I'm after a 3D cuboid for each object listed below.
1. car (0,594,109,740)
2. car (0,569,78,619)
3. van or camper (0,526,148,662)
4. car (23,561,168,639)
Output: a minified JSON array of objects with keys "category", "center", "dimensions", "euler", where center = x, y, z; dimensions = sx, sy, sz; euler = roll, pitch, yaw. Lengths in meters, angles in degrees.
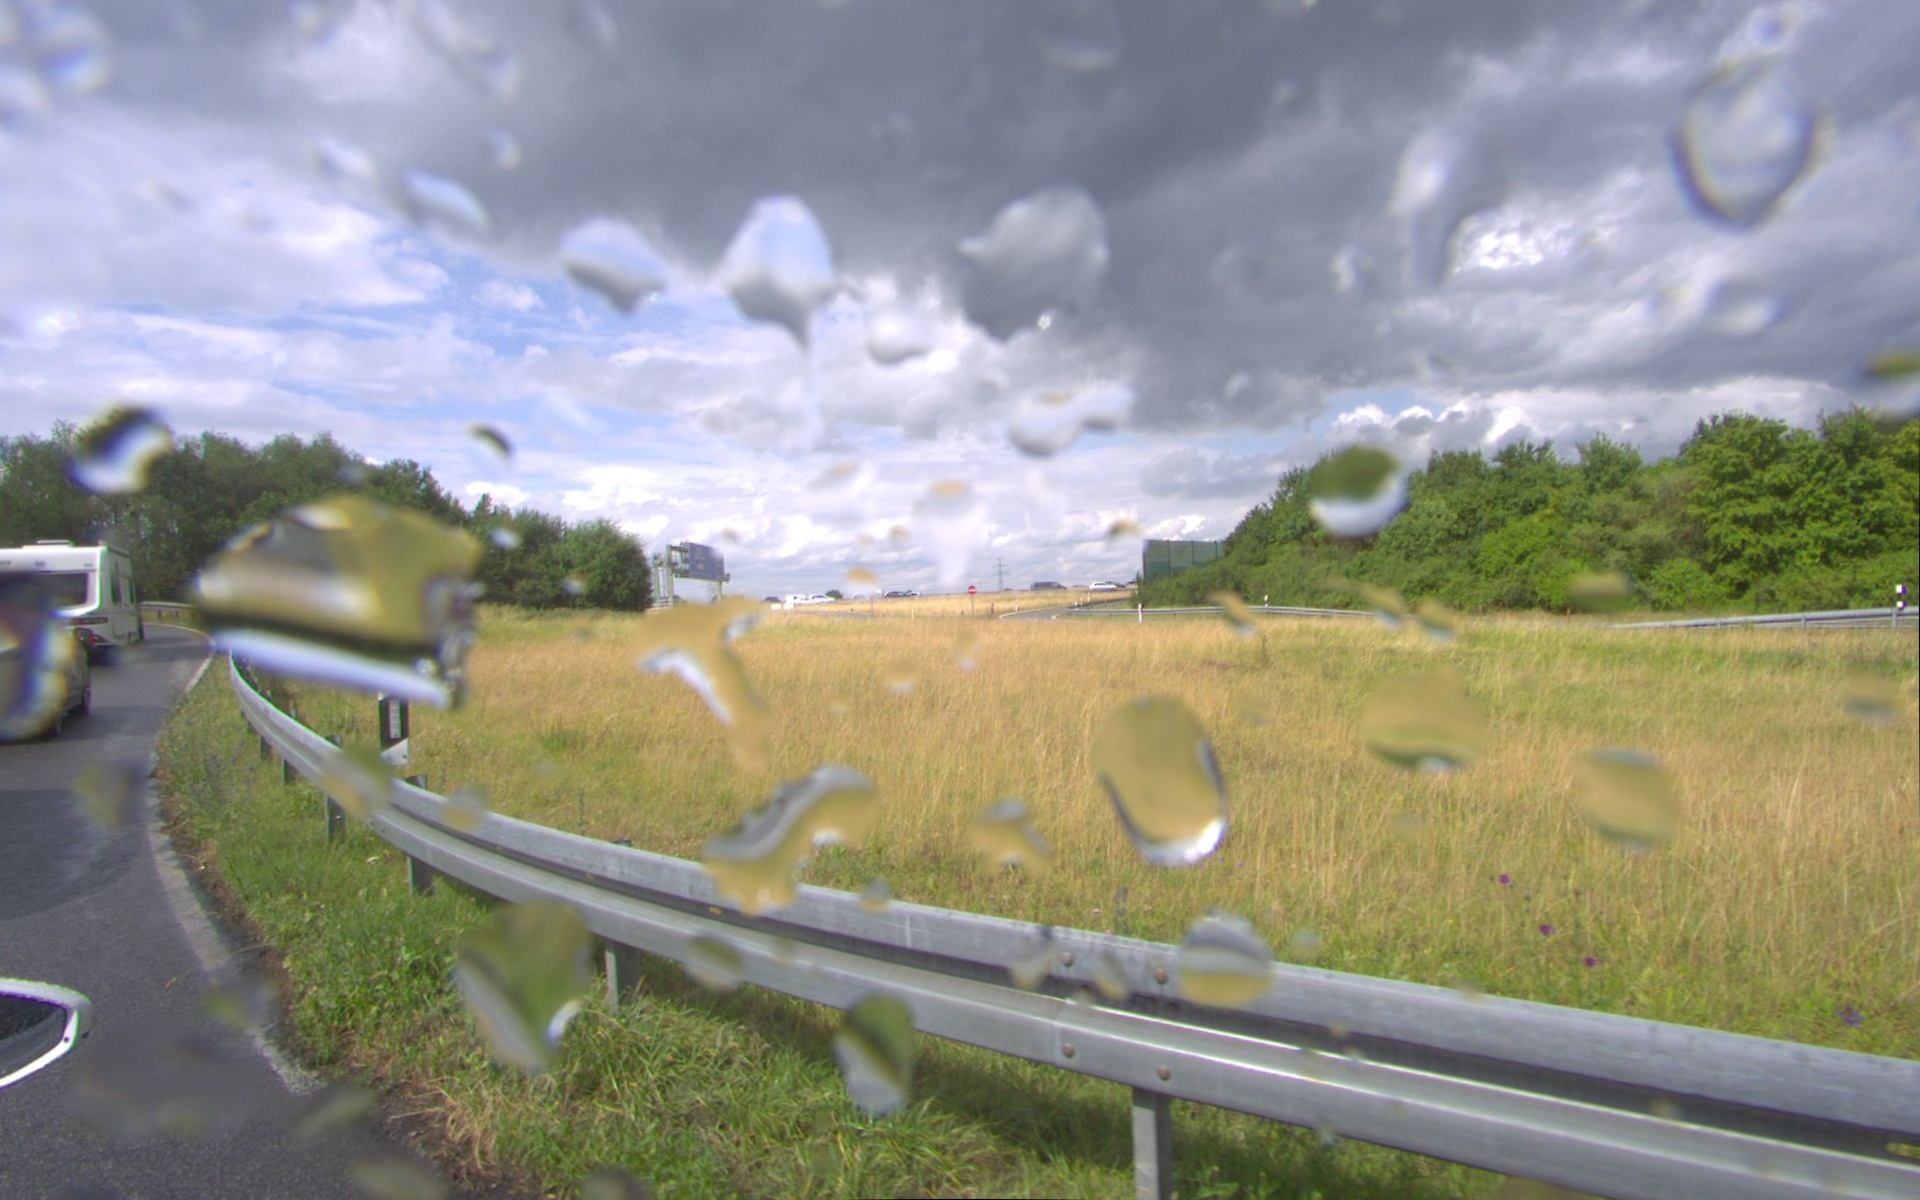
[{"category":"car","center":[-11.664,0.711,12.044],"dimensions":[1.701,1.545,3.973],"euler":[-1,1,-34]},{"category":"car","center":[-38.524,-0.205,40.812],"dimensions":[4.976,1.886,1.993],"euler":[-2,1,25]},{"category":"van or camper","center":[-20.652,-0.215,23.144],"dimensions":[2.407,2.767,5.958],"euler":[0,2,-35]},{"category":"car","center":[-23.939,-0.075,27.992],"dimensions":[2.405,1.952,5.719],"euler":[0,2,-34]}]
